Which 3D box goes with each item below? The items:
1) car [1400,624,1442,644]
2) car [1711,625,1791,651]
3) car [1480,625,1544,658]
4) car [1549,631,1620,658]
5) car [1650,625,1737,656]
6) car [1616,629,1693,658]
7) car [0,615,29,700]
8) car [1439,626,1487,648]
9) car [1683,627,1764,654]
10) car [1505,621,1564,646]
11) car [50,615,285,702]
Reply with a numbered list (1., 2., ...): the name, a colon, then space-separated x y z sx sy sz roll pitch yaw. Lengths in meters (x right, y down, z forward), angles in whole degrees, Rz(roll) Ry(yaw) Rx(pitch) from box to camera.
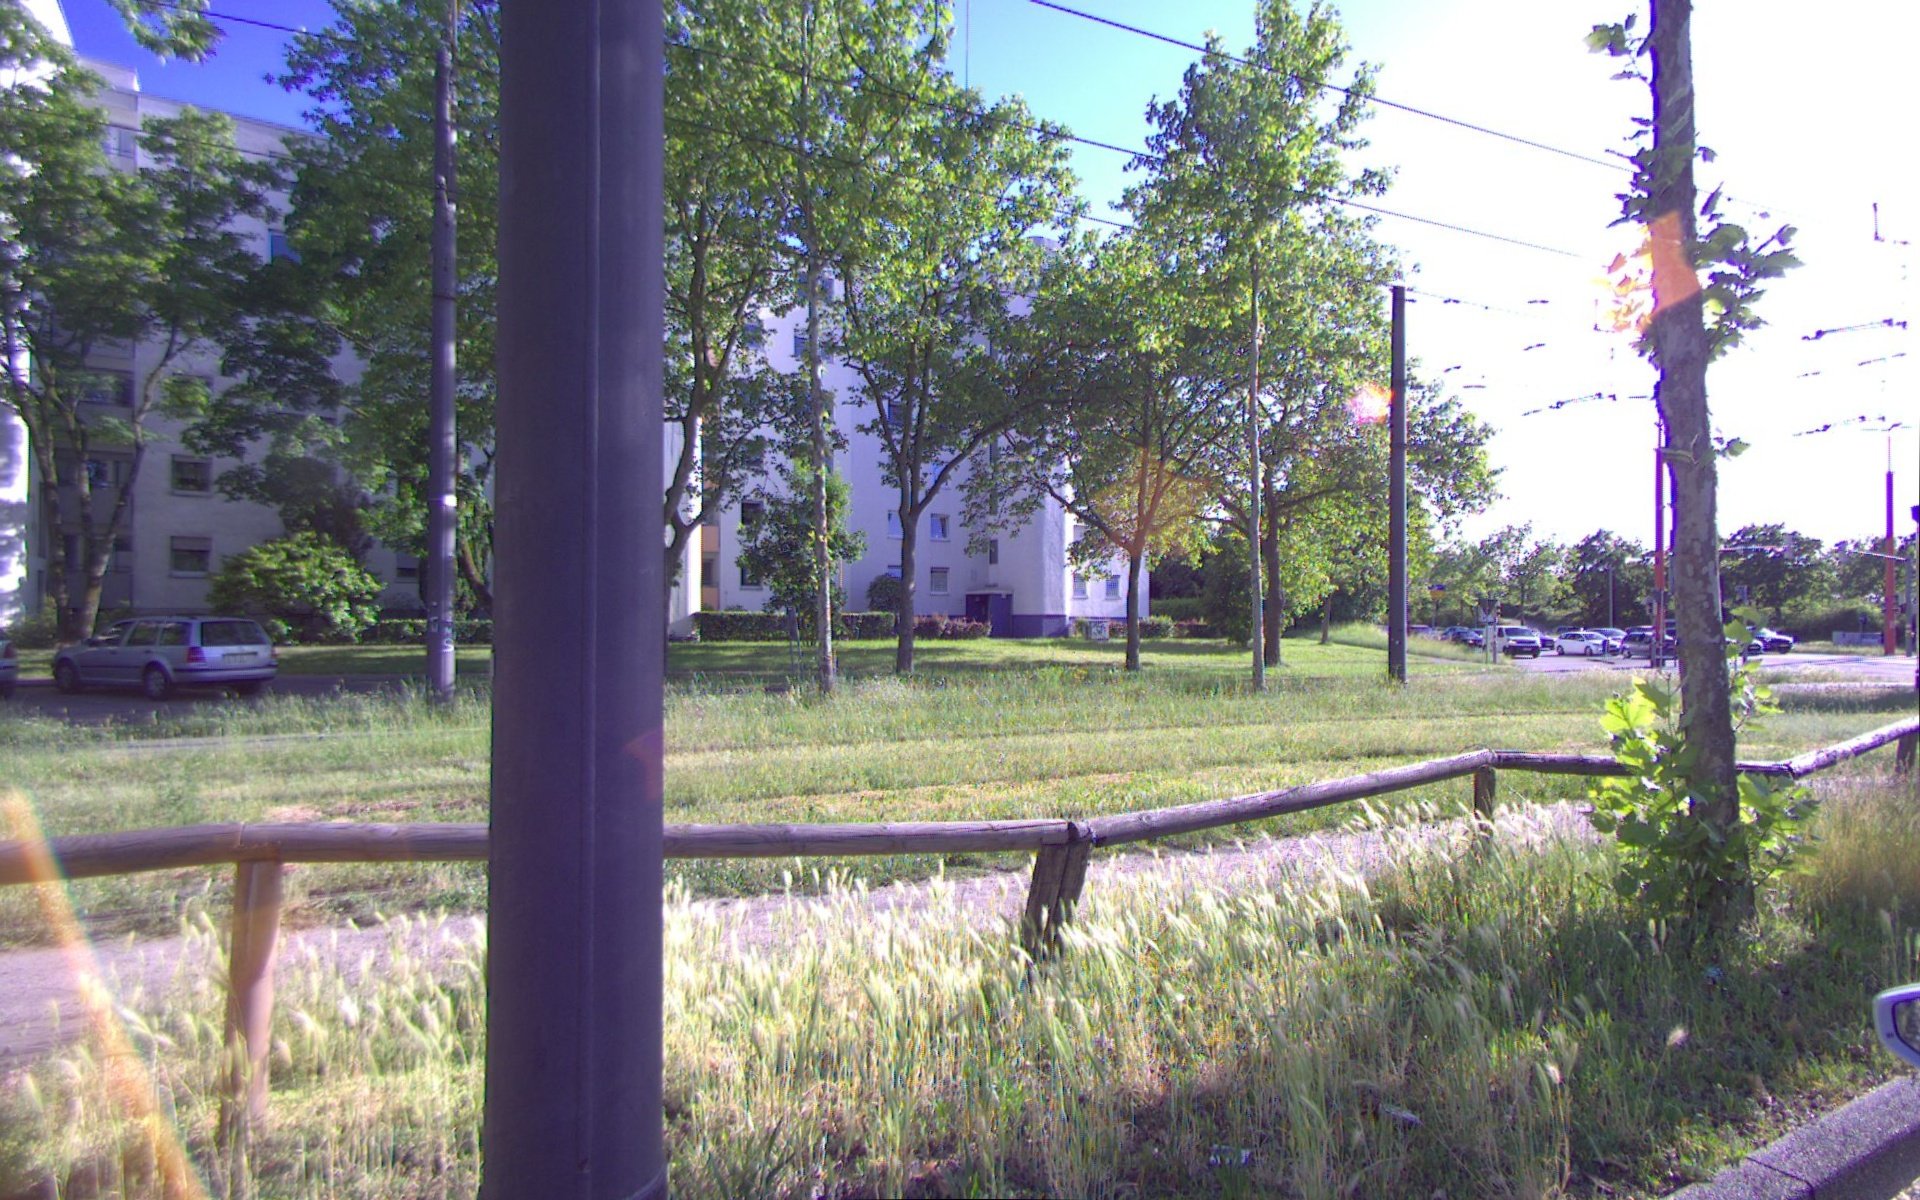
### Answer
1. car: 38.644 2.814 84.304 1.624 1.540 4.200 1 -1 1
2. car: 48.655 2.321 61.898 1.513 1.434 4.154 1 -1 -3
3. car: 33.981 2.536 62.024 1.796 1.845 4.905 1 -1 8
4. car: 38.920 2.754 62.737 1.624 1.540 4.638 1 -1 1
5. car: 42.329 2.307 58.107 1.624 1.669 4.644 1 -1 1
6. car: 38.967 2.406 56.450 1.624 1.460 3.841 1 -1 -2
7. car: -17.982 0.947 17.156 3.567 1.421 1.581 1 0 20
8. car: 38.662 2.815 77.255 1.624 1.540 4.200 1 -1 1
9. car: 45.577 2.391 60.064 1.513 1.434 4.154 1 -1 -3
10. car: 42.271 2.430 74.072 1.721 1.669 4.644 1 -1 1
11. car: -14.532 1.010 18.430 3.830 1.421 1.581 1 0 20
